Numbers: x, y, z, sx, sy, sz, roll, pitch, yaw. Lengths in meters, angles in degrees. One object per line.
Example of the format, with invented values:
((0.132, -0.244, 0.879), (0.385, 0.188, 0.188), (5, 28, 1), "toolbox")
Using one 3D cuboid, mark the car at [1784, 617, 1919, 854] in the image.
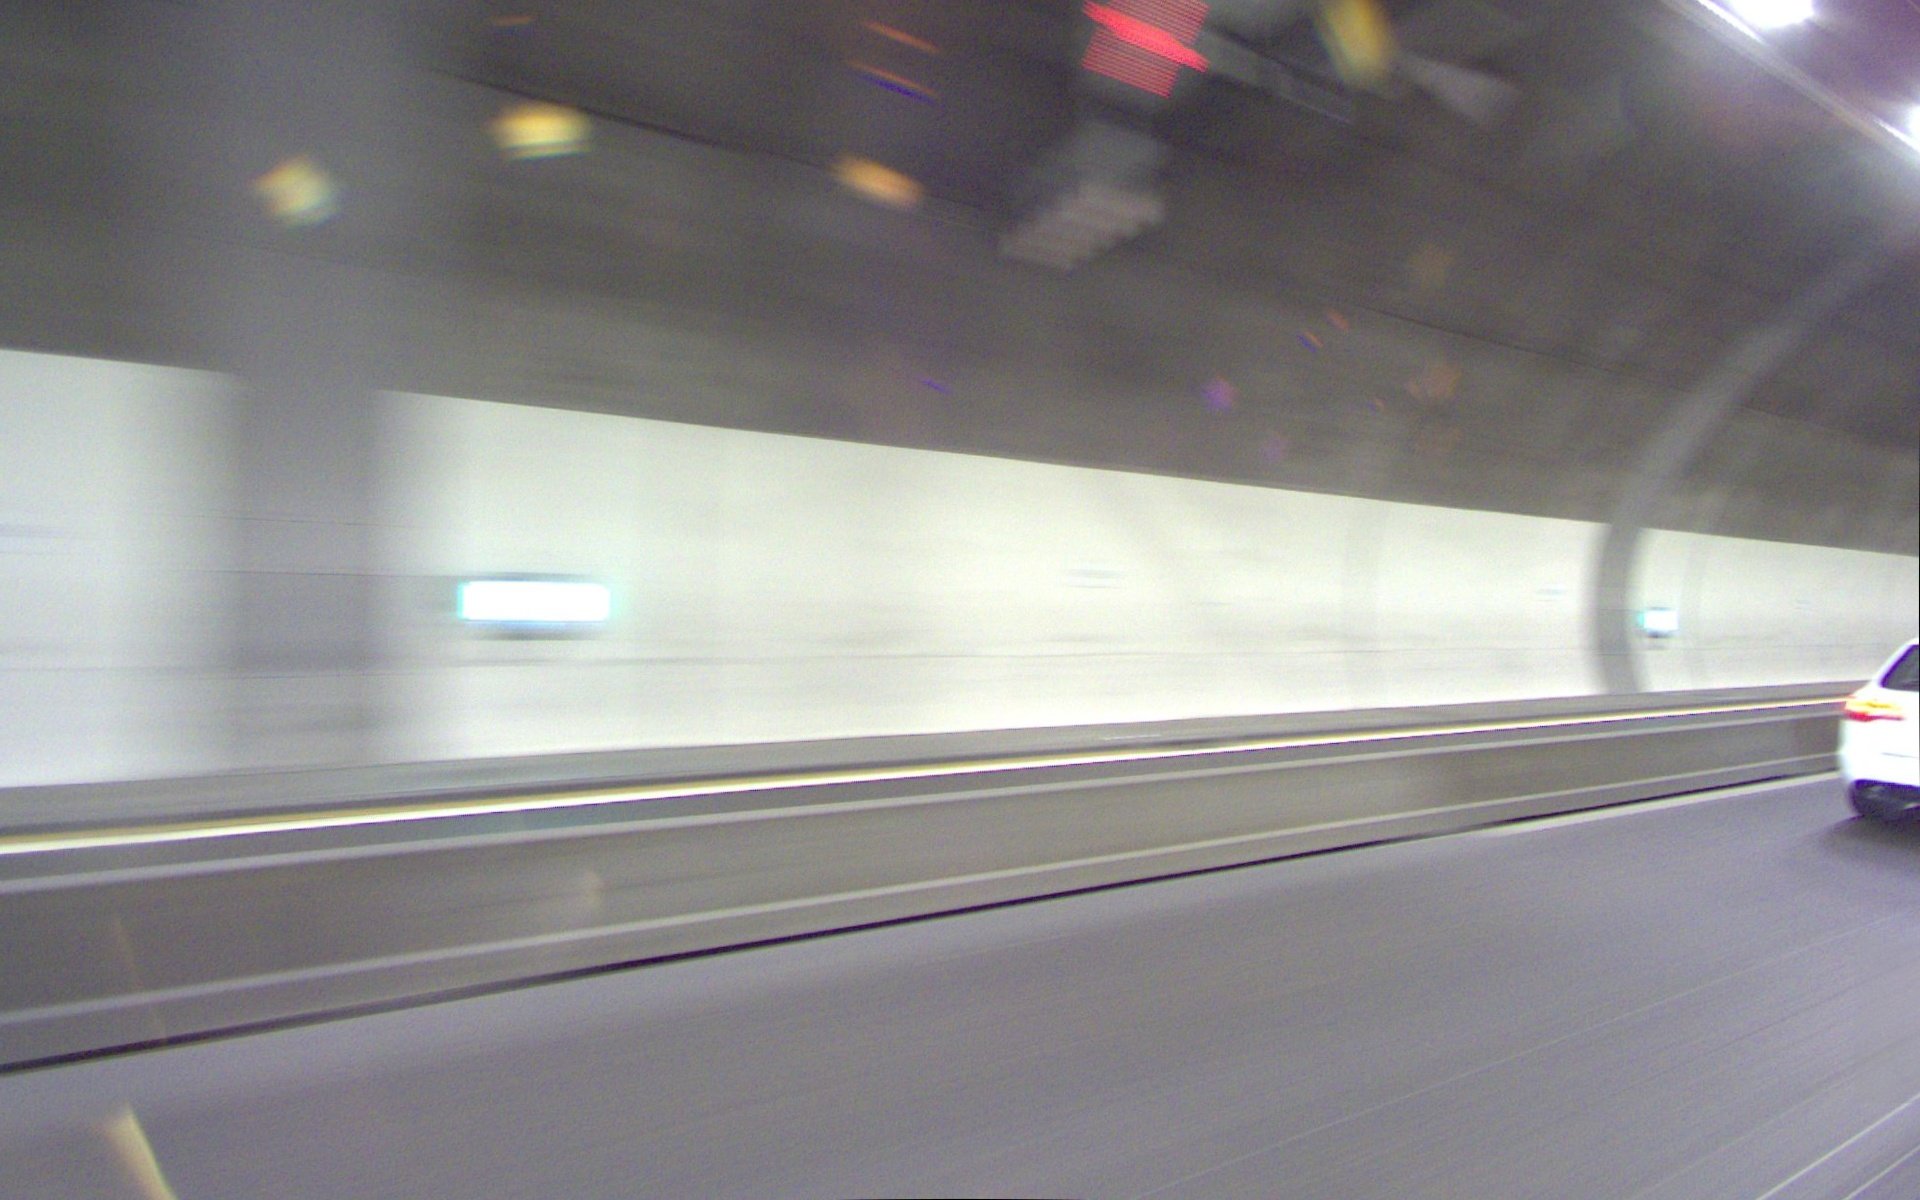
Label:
((8.358, 0.940, 7.492), (4.887, 1.504, 1.894), (2, -1, -31), "car")
